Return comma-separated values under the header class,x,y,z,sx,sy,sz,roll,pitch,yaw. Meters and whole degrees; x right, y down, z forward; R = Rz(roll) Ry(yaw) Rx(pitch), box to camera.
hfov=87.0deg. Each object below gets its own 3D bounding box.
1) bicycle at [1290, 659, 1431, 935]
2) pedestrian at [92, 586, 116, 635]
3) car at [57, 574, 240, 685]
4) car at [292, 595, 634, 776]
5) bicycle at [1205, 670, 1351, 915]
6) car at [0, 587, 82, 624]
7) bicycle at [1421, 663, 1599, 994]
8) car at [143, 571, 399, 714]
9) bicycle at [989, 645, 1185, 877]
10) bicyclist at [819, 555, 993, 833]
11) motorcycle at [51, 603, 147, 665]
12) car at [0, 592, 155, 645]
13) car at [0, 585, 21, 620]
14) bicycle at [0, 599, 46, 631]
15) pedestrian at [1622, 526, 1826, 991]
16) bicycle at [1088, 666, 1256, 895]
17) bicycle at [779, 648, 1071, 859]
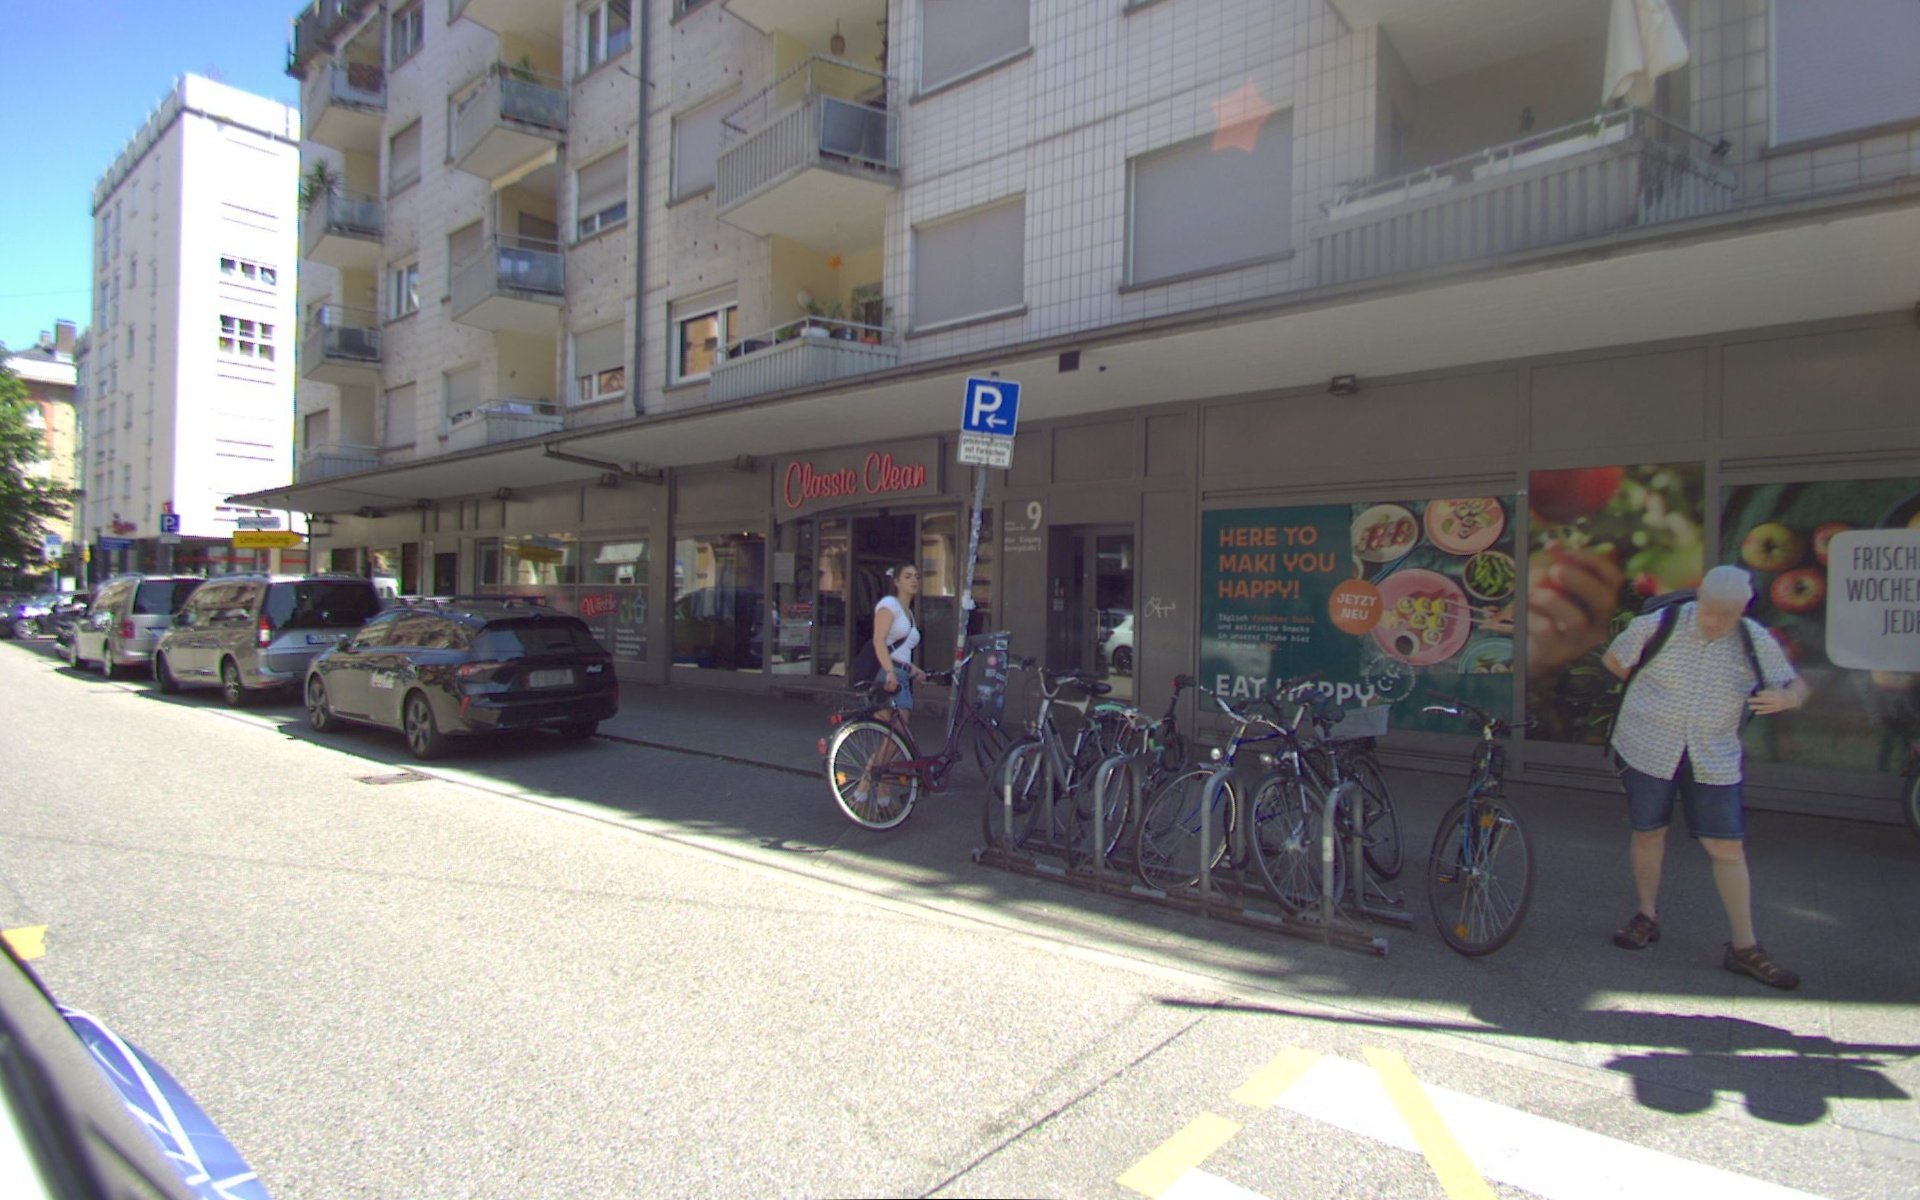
class,x,y,z,sx,sy,sz,roll,pitch,yaw
bicycle,2.117,0.929,5.263,0.335,1.125,1.506,0,1,35
pedestrian,-37.275,0.458,44.067,0.599,2.141,0.496,1,-1,-14
car,-15.302,0.476,18.987,4.897,1.843,1.770,0,0,40
car,-5.419,0.722,10.747,4.461,1.536,1.653,0,0,41
bicycle,1.767,0.967,5.508,0.335,1.043,1.435,0,1,35
car,-40.384,0.243,43.458,1.650,1.540,3.837,0,-1,39
bicycle,2.665,0.940,4.808,0.576,1.131,1.783,1,1,34
car,-10.311,0.528,15.015,4.692,1.825,1.772,0,0,37
bicycle,0.835,0.909,6.268,0.526,1.148,1.570,0,1,35
bicyclist,-0.359,0.589,6.818,0.963,1.719,0.626,2,-1,-40
motorcycle,-18.280,0.714,21.511,1.529,1.293,0.395,0,1,-18
car,-26.164,0.526,29.484,1.809,1.436,3.850,0,-1,31
car,-50.432,0.111,51.401,1.650,1.760,3.837,0,-1,39
bicycle,-32.978,0.531,35.298,1.587,1.099,0.371,-1,1,-45
pedestrian,3.190,0.596,4.250,0.631,1.740,0.650,1,-1,38
bicycle,1.270,0.968,5.878,0.397,1.038,1.481,0,1,35
bicycle,-0.183,0.933,6.726,1.908,1.100,0.606,-2,0,-37
